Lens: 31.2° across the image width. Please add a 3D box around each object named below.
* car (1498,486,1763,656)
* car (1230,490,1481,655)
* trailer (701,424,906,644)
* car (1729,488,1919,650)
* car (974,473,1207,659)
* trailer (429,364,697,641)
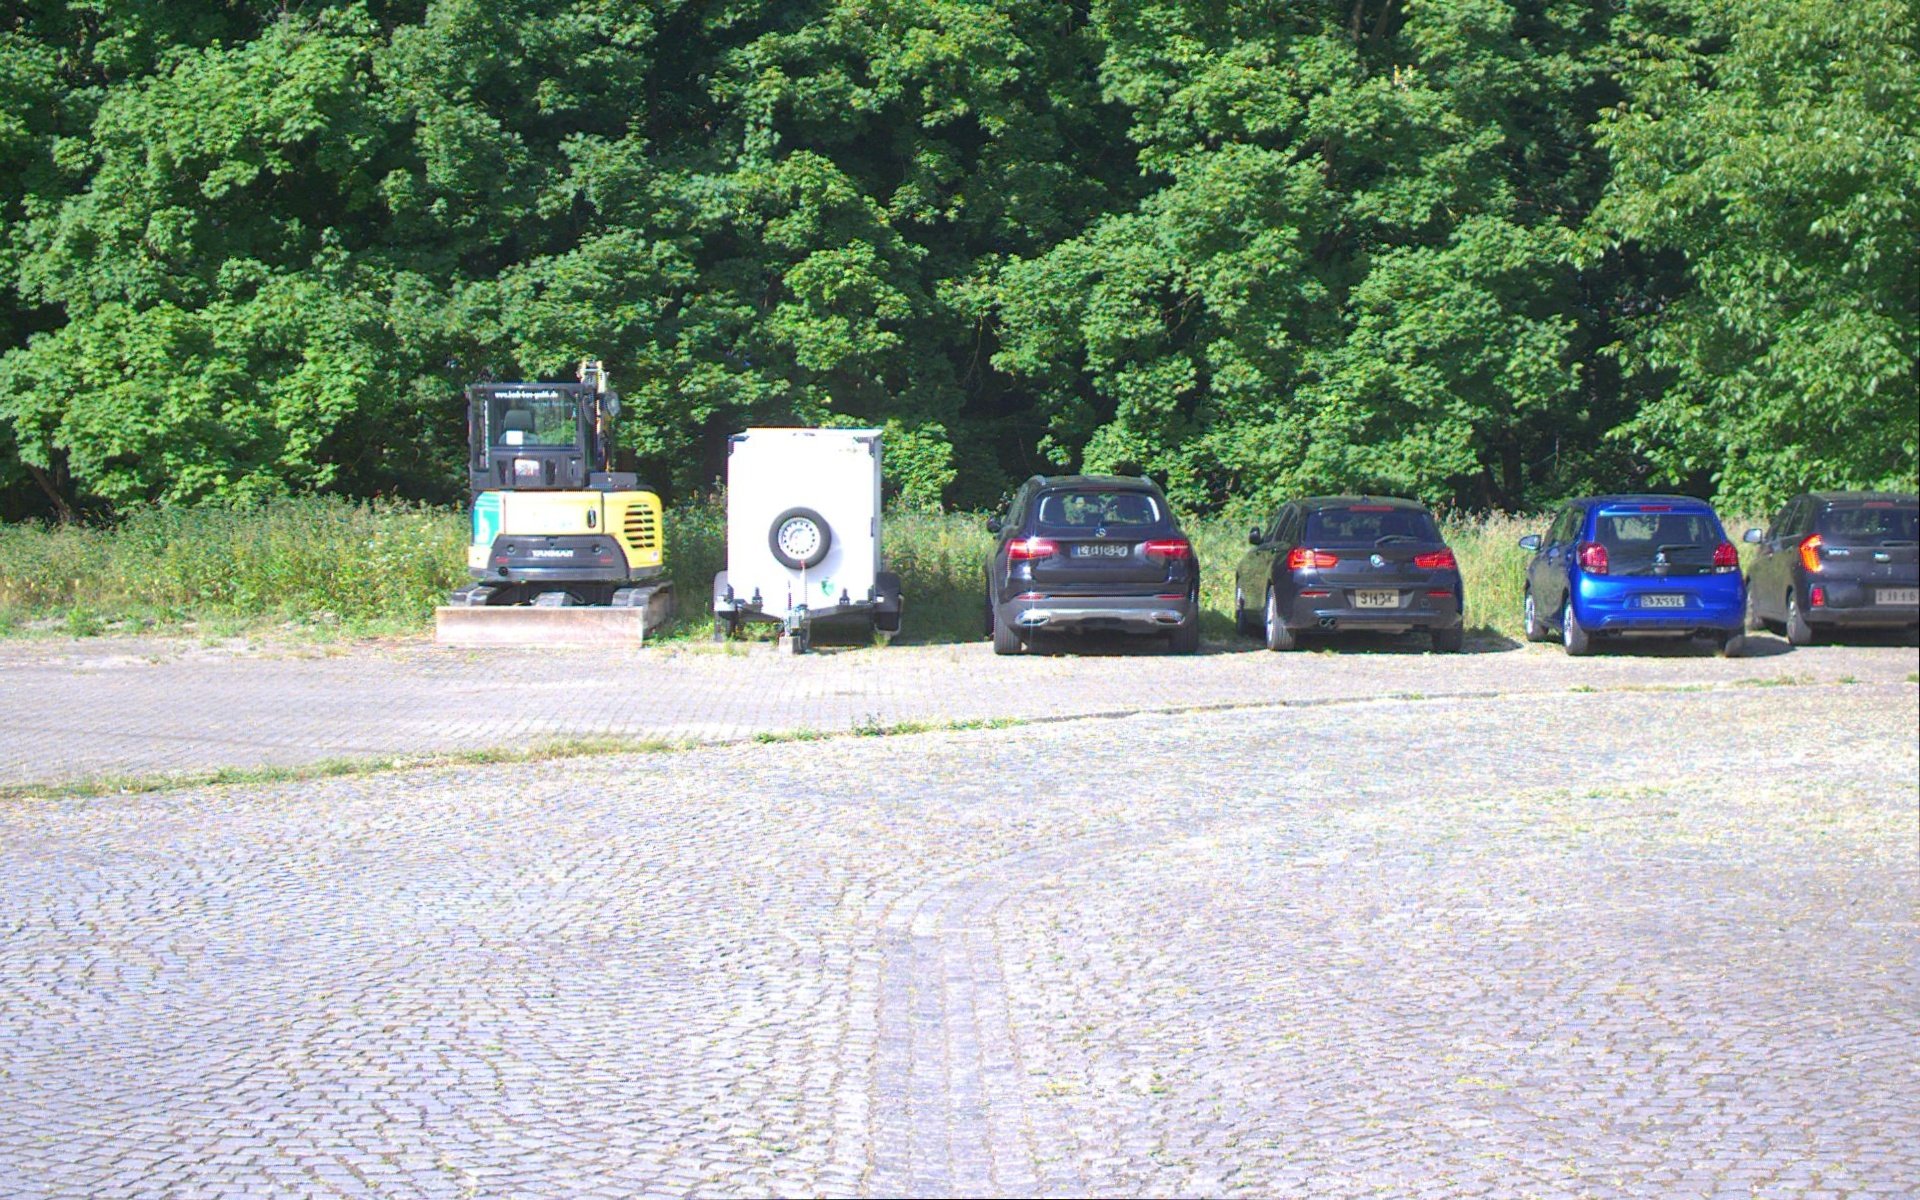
[{"bbox_3d":[6.326,-0.324,32.828,1.780,1.453,3.790,1,3,0],"label":"car"},{"bbox_3d":[3.696,-0.307,32.744,1.889,1.406,3.790,1,3,-1],"label":"car"},{"bbox_3d":[-1.492,-0.682,33.628,1.818,2.043,2.850,1,3,1],"label":"trailer"},{"bbox_3d":[8.787,-0.351,34.109,1.739,1.446,3.725,1,3,5],"label":"car"},{"bbox_3d":[1.156,-0.374,32.329,1.964,1.584,4.132,1,3,-1],"label":"car"},{"bbox_3d":[-3.852,-1.012,33.810,2.258,2.529,2.851,1,5,1],"label":"trailer"}]
